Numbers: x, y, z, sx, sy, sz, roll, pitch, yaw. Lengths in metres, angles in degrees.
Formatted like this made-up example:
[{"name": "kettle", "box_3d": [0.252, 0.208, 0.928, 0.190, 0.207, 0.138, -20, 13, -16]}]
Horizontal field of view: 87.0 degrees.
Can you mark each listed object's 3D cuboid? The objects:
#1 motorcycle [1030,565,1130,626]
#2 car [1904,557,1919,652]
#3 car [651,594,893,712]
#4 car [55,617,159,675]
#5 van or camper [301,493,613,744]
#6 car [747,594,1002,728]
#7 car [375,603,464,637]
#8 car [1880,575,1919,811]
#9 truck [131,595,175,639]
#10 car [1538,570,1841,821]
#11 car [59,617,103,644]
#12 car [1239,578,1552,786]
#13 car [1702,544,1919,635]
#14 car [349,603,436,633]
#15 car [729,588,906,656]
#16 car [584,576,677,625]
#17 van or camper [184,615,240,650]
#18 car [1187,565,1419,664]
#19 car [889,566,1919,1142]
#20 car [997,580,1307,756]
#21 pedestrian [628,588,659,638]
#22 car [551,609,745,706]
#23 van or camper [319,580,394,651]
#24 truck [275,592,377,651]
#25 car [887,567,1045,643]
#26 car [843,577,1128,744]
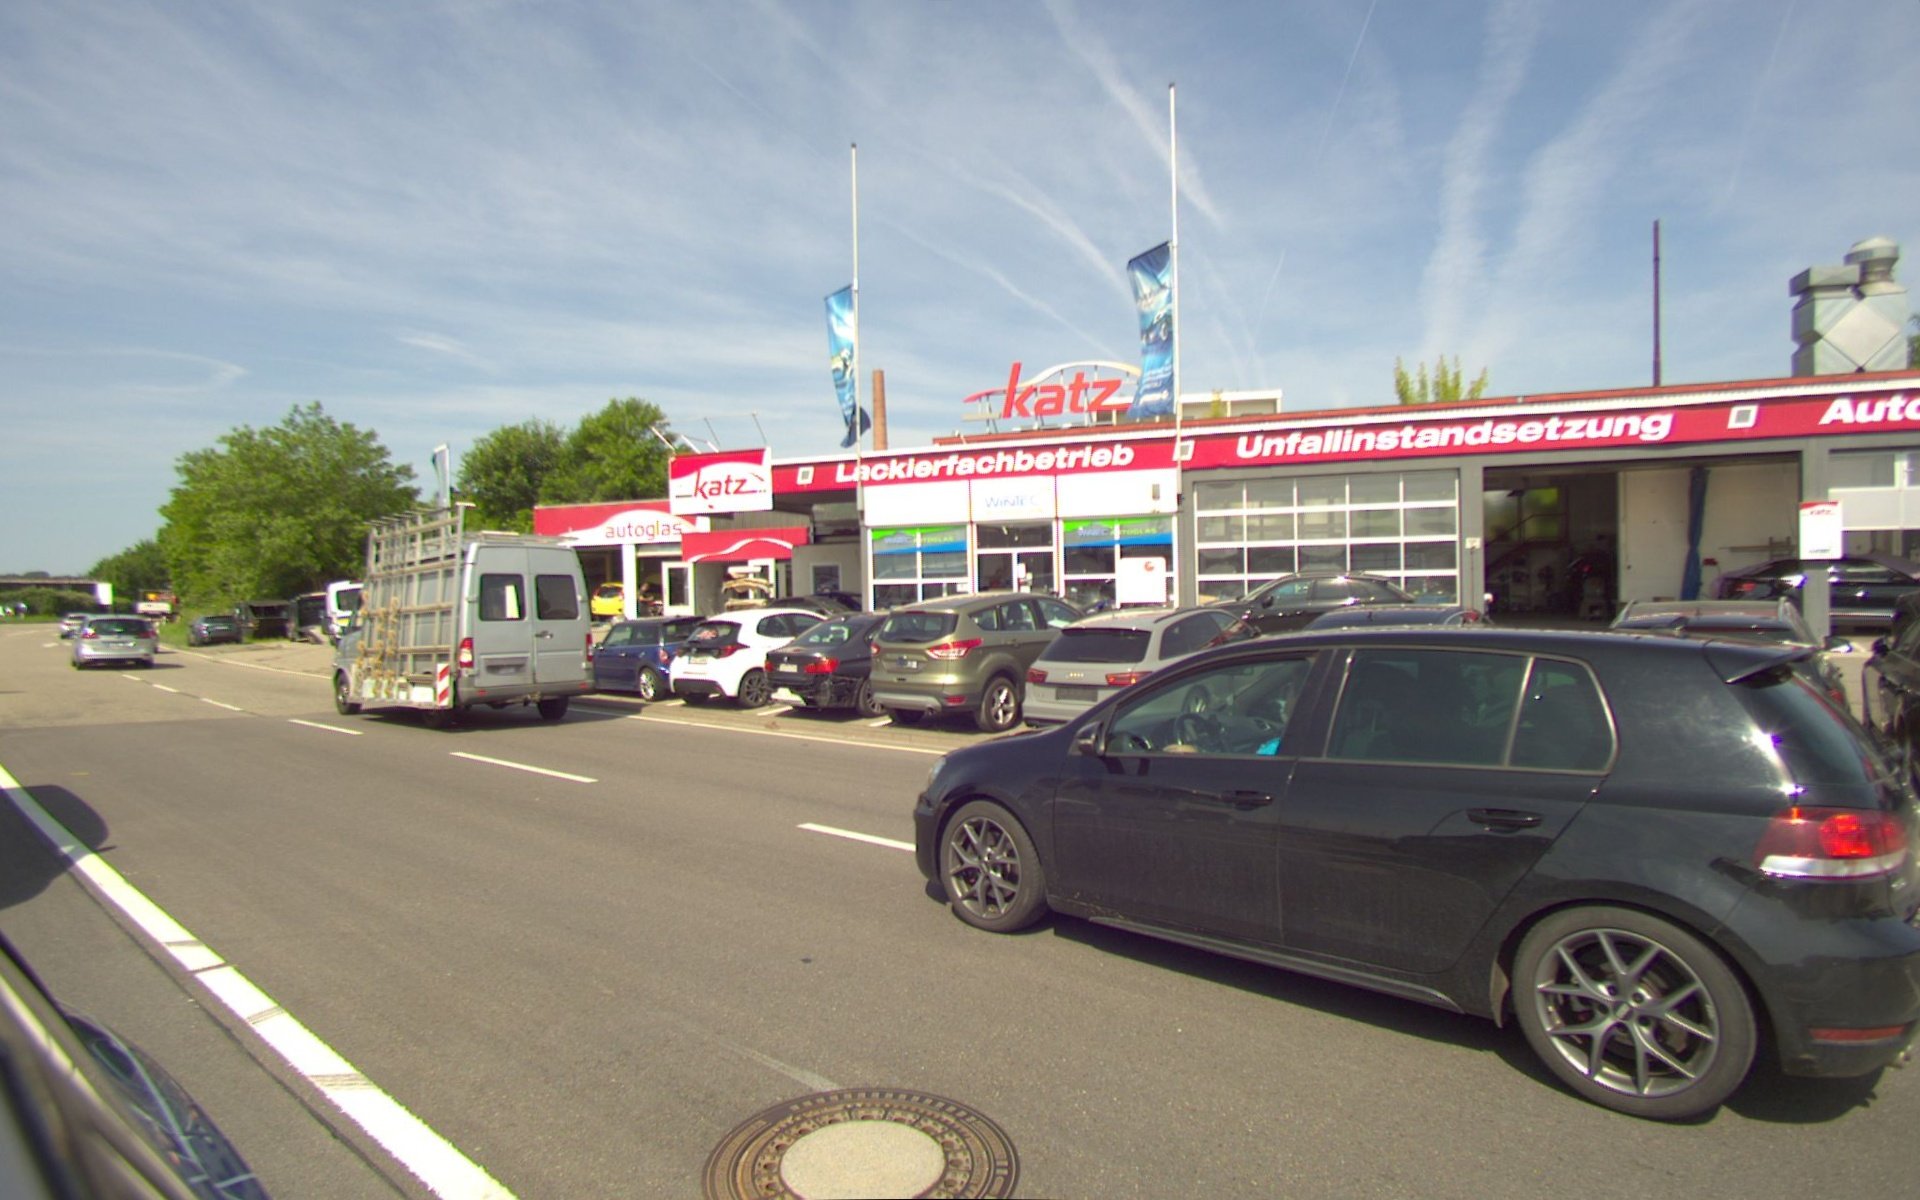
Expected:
[{"name": "motorcycle", "box_3d": [2.590, -0.076, 21.854, 2.040, 1.271, 0.767, -1, -1, 21]}, {"name": "car", "box_3d": [15.897, 0.053, 14.746, 1.757, 1.544, 3.922, -1, -1, 21]}, {"name": "car", "box_3d": [-3.131, 0.817, 17.464, 1.844, 1.536, 3.760, -1, 3, 39]}, {"name": "car", "box_3d": [-26.411, 1.377, 31.302, 4.179, 1.675, 1.889, -1, -2, 42]}, {"name": "van or camper", "box_3d": [-7.748, 0.281, 15.243, 5.900, 3.079, 2.184, -1, -2, 42]}, {"name": "car", "box_3d": [-1.193, 0.824, 15.478, 1.790, 1.536, 3.672, -1, 3, 39]}, {"name": "car", "box_3d": [-26.397, 0.958, 49.509, 1.726, 1.541, 3.649, -1, 0, 19]}, {"name": "car", "box_3d": [8.031, 0.645, 7.301, 1.800, 1.495, 3.808, -1, 3, 39]}, {"name": "truck", "box_3d": [-82.684, 1.807, 103.878, 2.917, 4.241, 10.671, 2, -2, -36]}, {"name": "car", "box_3d": [6.642, 0.612, 9.138, 1.770, 1.495, 4.416, -1, 3, 39]}, {"name": "car", "box_3d": [-52.524, 1.810, 60.445, 1.886, 1.533, 4.787, 0, -1, -42]}, {"name": "car", "box_3d": [4.729, 0.658, 10.605, 1.797, 1.495, 4.255, -1, 3, 41]}, {"name": "car", "box_3d": [17.290, -0.177, 19.982, 3.997, 1.685, 1.893, -1, -1, 29]}, {"name": "car", "box_3d": [-29.452, 0.911, 52.618, 1.729, 1.480, 3.641, -1, 0, 24]}, {"name": "car", "box_3d": [-3.860, 0.596, 27.527, 4.361, 1.516, 1.848, -3, 1, 19]}, {"name": "car", "box_3d": [-13.317, -0.015, 41.112, 1.726, 1.738, 3.649, -1, 3, 19]}, {"name": "van or camper", "box_3d": [-35.796, 1.523, 48.403, 1.620, 1.536, 4.471, -2, 1, -43]}, {"name": "car", "box_3d": [6.571, 0.235, 19.745, 4.091, 1.686, 1.819, 0, 5, 16]}, {"name": "car", "box_3d": [1.648, 0.670, 4.285, 3.925, 1.420, 1.648, -1, -2, 42]}, {"name": "car", "box_3d": [2.477, 0.657, 12.174, 1.834, 1.495, 4.236, -1, 3, 39]}, {"name": "pedestrian", "box_3d": [-11.556, 0.473, 36.911, 0.895, 1.775, 0.714, 0, 1, 45]}, {"name": "car", "box_3d": [-5.947, 1.005, 19.085, 3.782, 1.505, 1.760, -1, 4, 43]}, {"name": "van or camper", "box_3d": [-24.415, 0.588, 40.817, 2.126, 2.517, 5.966, -5, 2, -34]}, {"name": "truck", "box_3d": [-29.494, 0.936, 46.859, 2.303, 2.313, 8.813, -7, 4, -42]}, {"name": "car", "box_3d": [0.182, 0.123, 26.038, 3.728, 1.772, 1.696, -1, 3, 17]}, {"name": "car", "box_3d": [0.471, 0.686, 13.779, 1.805, 1.729, 3.847, -1, 3, 40]}]
